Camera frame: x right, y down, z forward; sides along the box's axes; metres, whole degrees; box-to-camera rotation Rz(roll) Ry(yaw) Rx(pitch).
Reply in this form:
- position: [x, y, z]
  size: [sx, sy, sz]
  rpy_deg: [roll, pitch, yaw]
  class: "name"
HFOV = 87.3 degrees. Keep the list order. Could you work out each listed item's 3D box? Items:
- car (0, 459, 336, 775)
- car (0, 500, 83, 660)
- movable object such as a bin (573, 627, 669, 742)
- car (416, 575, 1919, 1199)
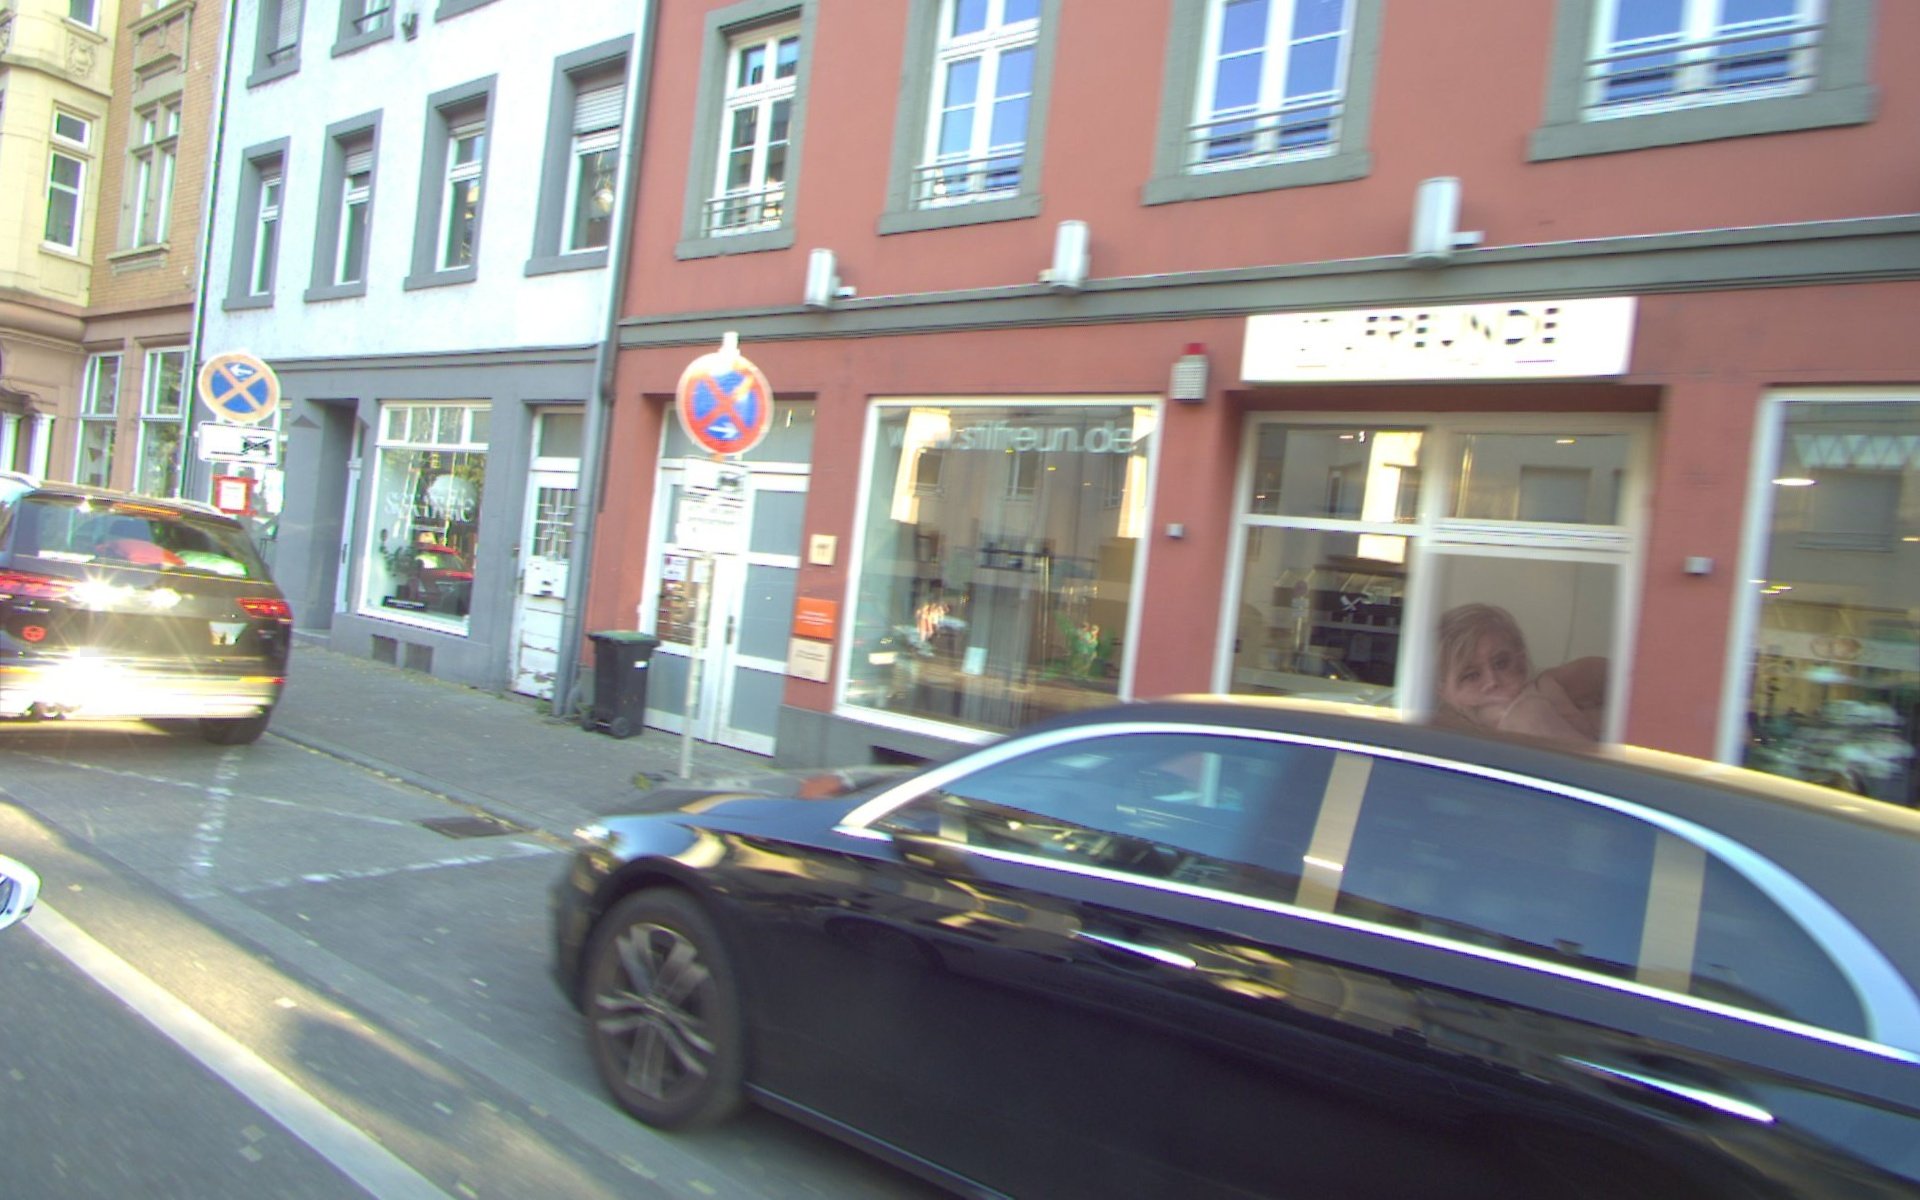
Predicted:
- position: [-6.490, -0.011, 7.090]
  size: [4.137, 1.687, 1.815]
  rpy_deg: [6, -2, 32]
  class: "car"
- position: [-10.292, -0.376, 9.714]
  size: [3.740, 1.394, 1.669]
  rpy_deg: [6, -2, 32]
  class: "car"
- position: [-3.061, 0.756, 9.096]
  size: [0.477, 0.949, 0.553]
  rpy_deg: [7, 0, 30]
  class: "movable object such as a bin"
- position: [0.485, 0.926, 3.006]
  size: [4.236, 1.501, 1.765]
  rpy_deg: [6, -2, 32]
  class: "car"
